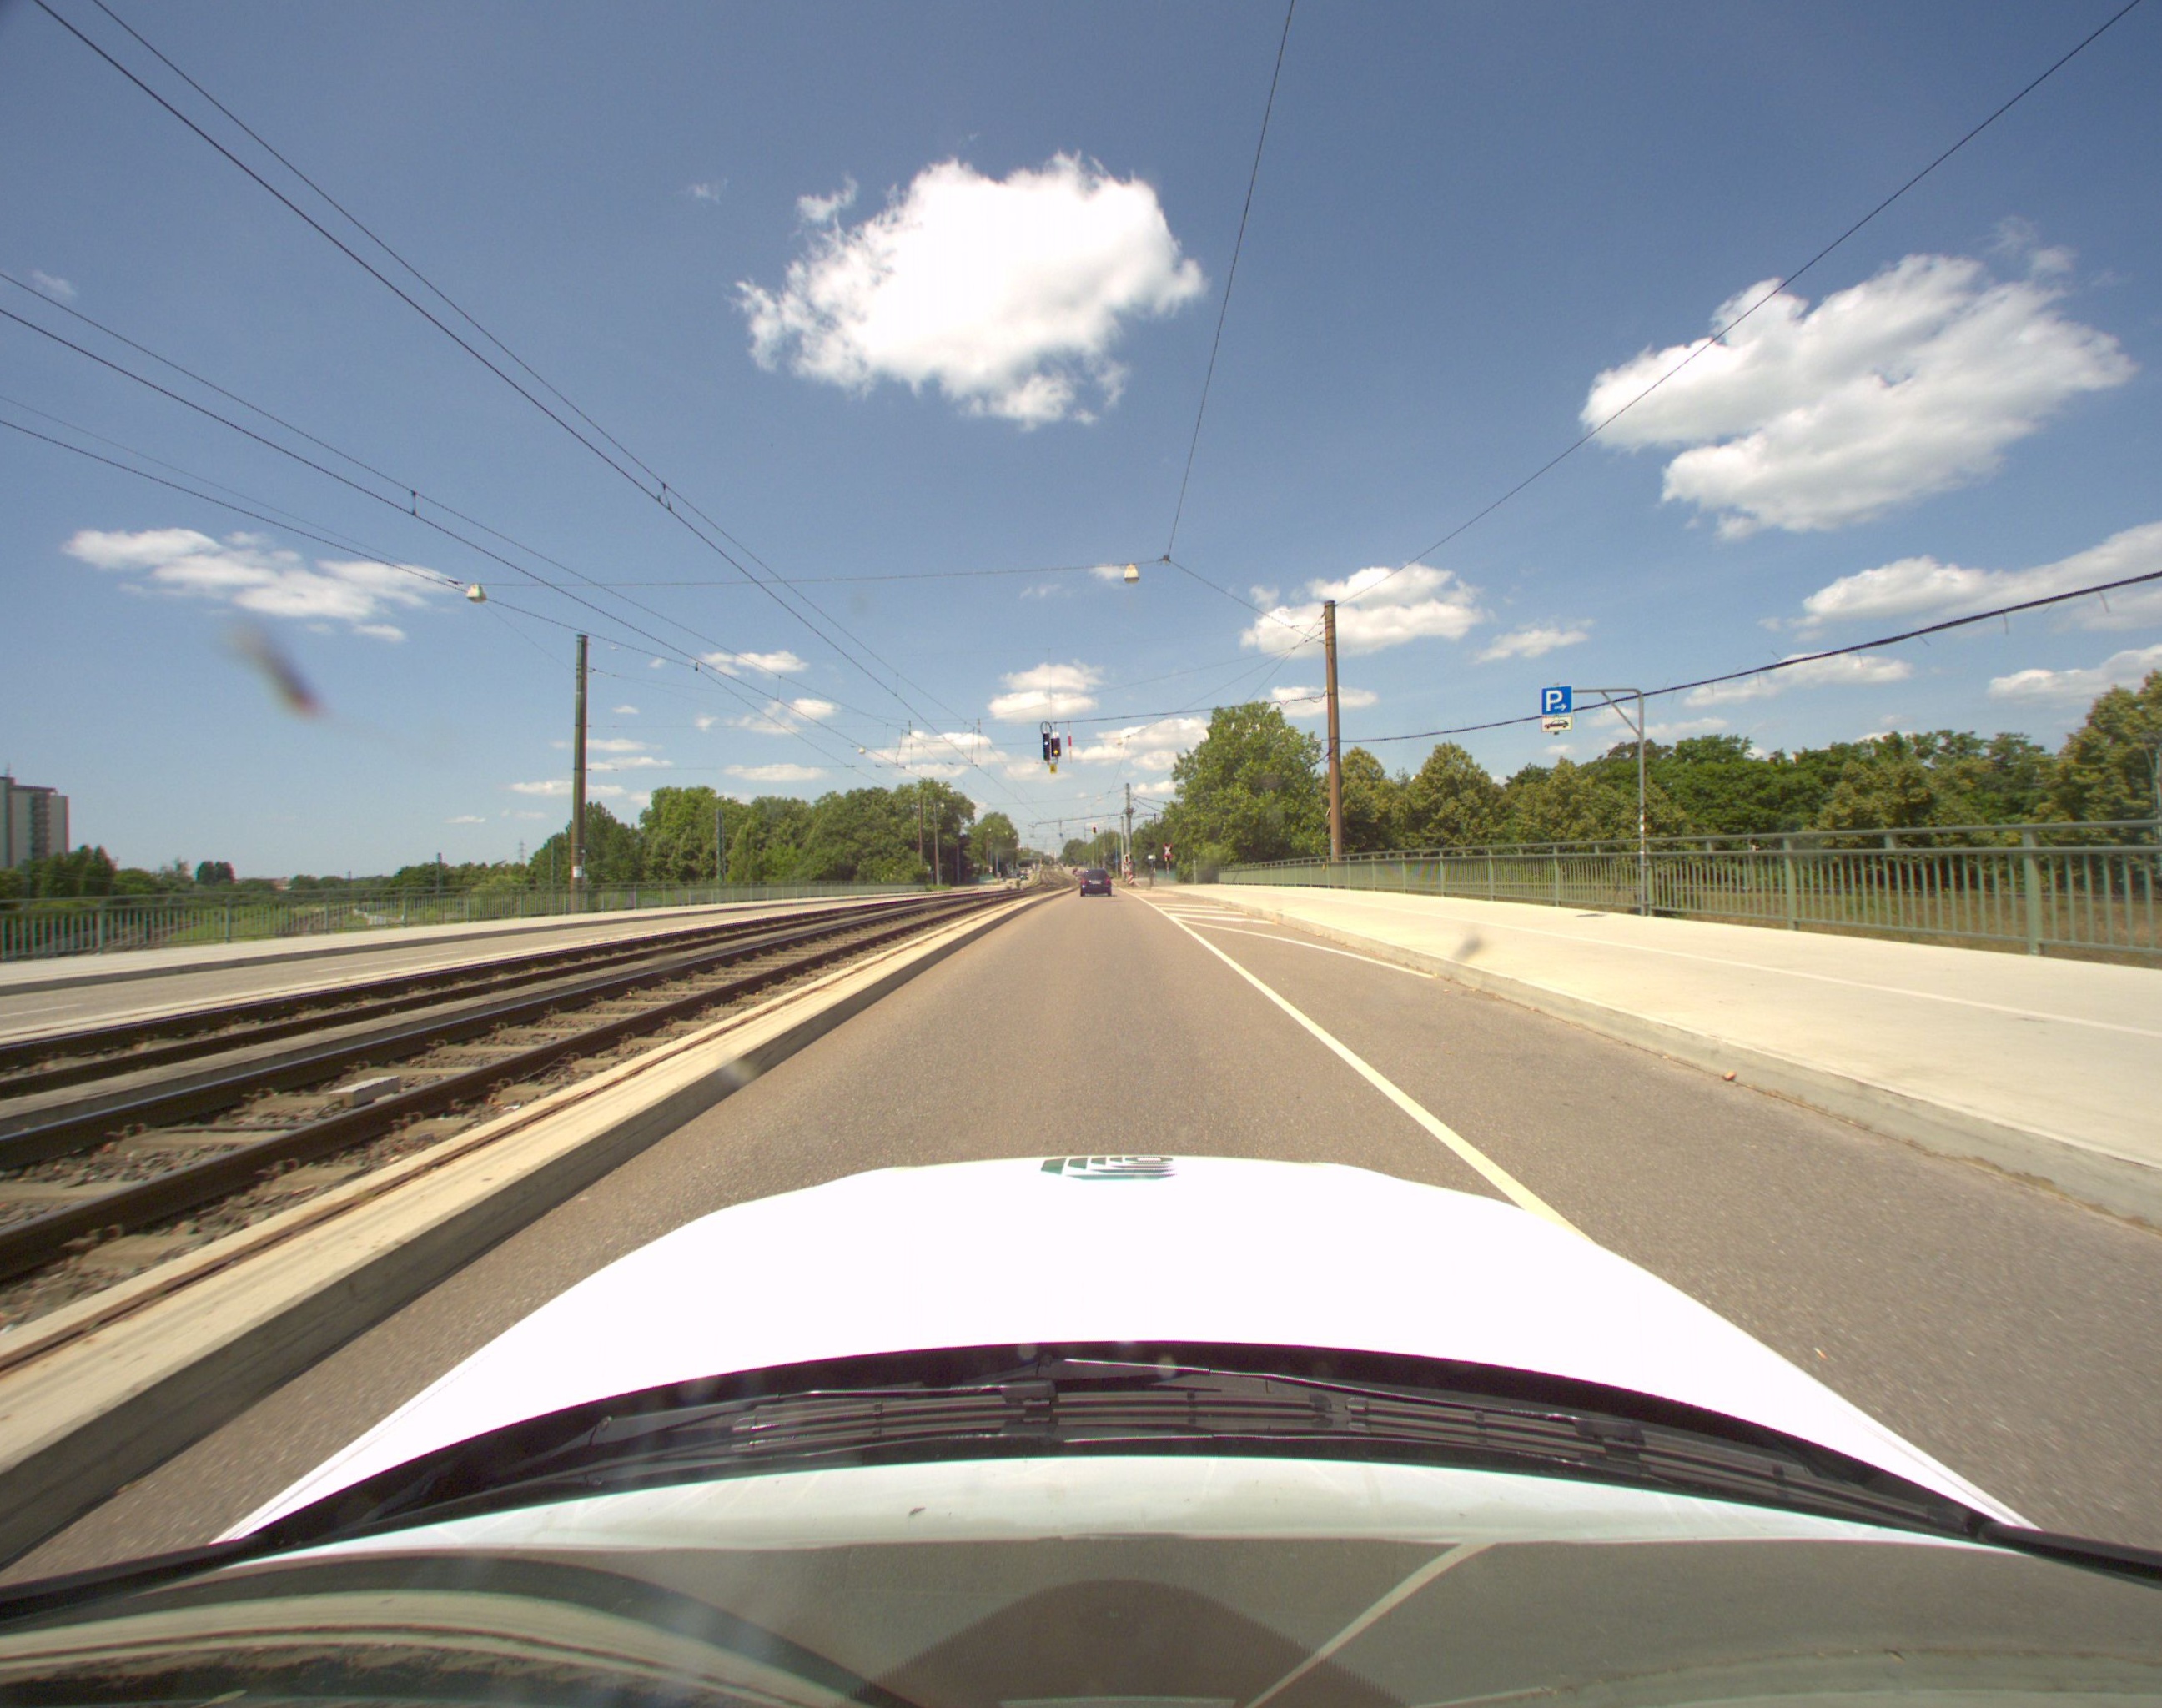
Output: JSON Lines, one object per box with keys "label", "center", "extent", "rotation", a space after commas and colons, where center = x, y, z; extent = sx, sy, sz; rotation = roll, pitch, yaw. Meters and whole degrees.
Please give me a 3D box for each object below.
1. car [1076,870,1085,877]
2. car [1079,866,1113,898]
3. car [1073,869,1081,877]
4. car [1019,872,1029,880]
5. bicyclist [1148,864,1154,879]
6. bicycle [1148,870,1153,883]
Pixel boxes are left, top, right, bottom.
{"label": "car", "center": [-0.104, 4.589, 193.664], "extent": [1.878, 1.640, 4.002], "rotation": [2, 0, 2]}
{"label": "car", "center": [0.848, 1.561, 46.672], "extent": [1.846, 1.570, 4.389], "rotation": [-1, 1, 1]}
{"label": "car", "center": [-1.079, 5.251, 225.495], "extent": [1.987, 2.013, 4.001], "rotation": [-1, 0, 1]}
{"label": "car", "center": [-11.809, 4.505, 168.405], "extent": [1.698, 1.510, 3.734], "rotation": [-3, -1, 2]}
{"label": "bicyclist", "center": [6.816, 1.719, 79.419], "extent": [0.583, 1.495, 0.558], "rotation": [-1, 0, 2]}
{"label": "bicycle", "center": [6.798, 2.205, 79.483], "extent": [0.430, 1.152, 1.856], "rotation": [-1, 0, 3]}
